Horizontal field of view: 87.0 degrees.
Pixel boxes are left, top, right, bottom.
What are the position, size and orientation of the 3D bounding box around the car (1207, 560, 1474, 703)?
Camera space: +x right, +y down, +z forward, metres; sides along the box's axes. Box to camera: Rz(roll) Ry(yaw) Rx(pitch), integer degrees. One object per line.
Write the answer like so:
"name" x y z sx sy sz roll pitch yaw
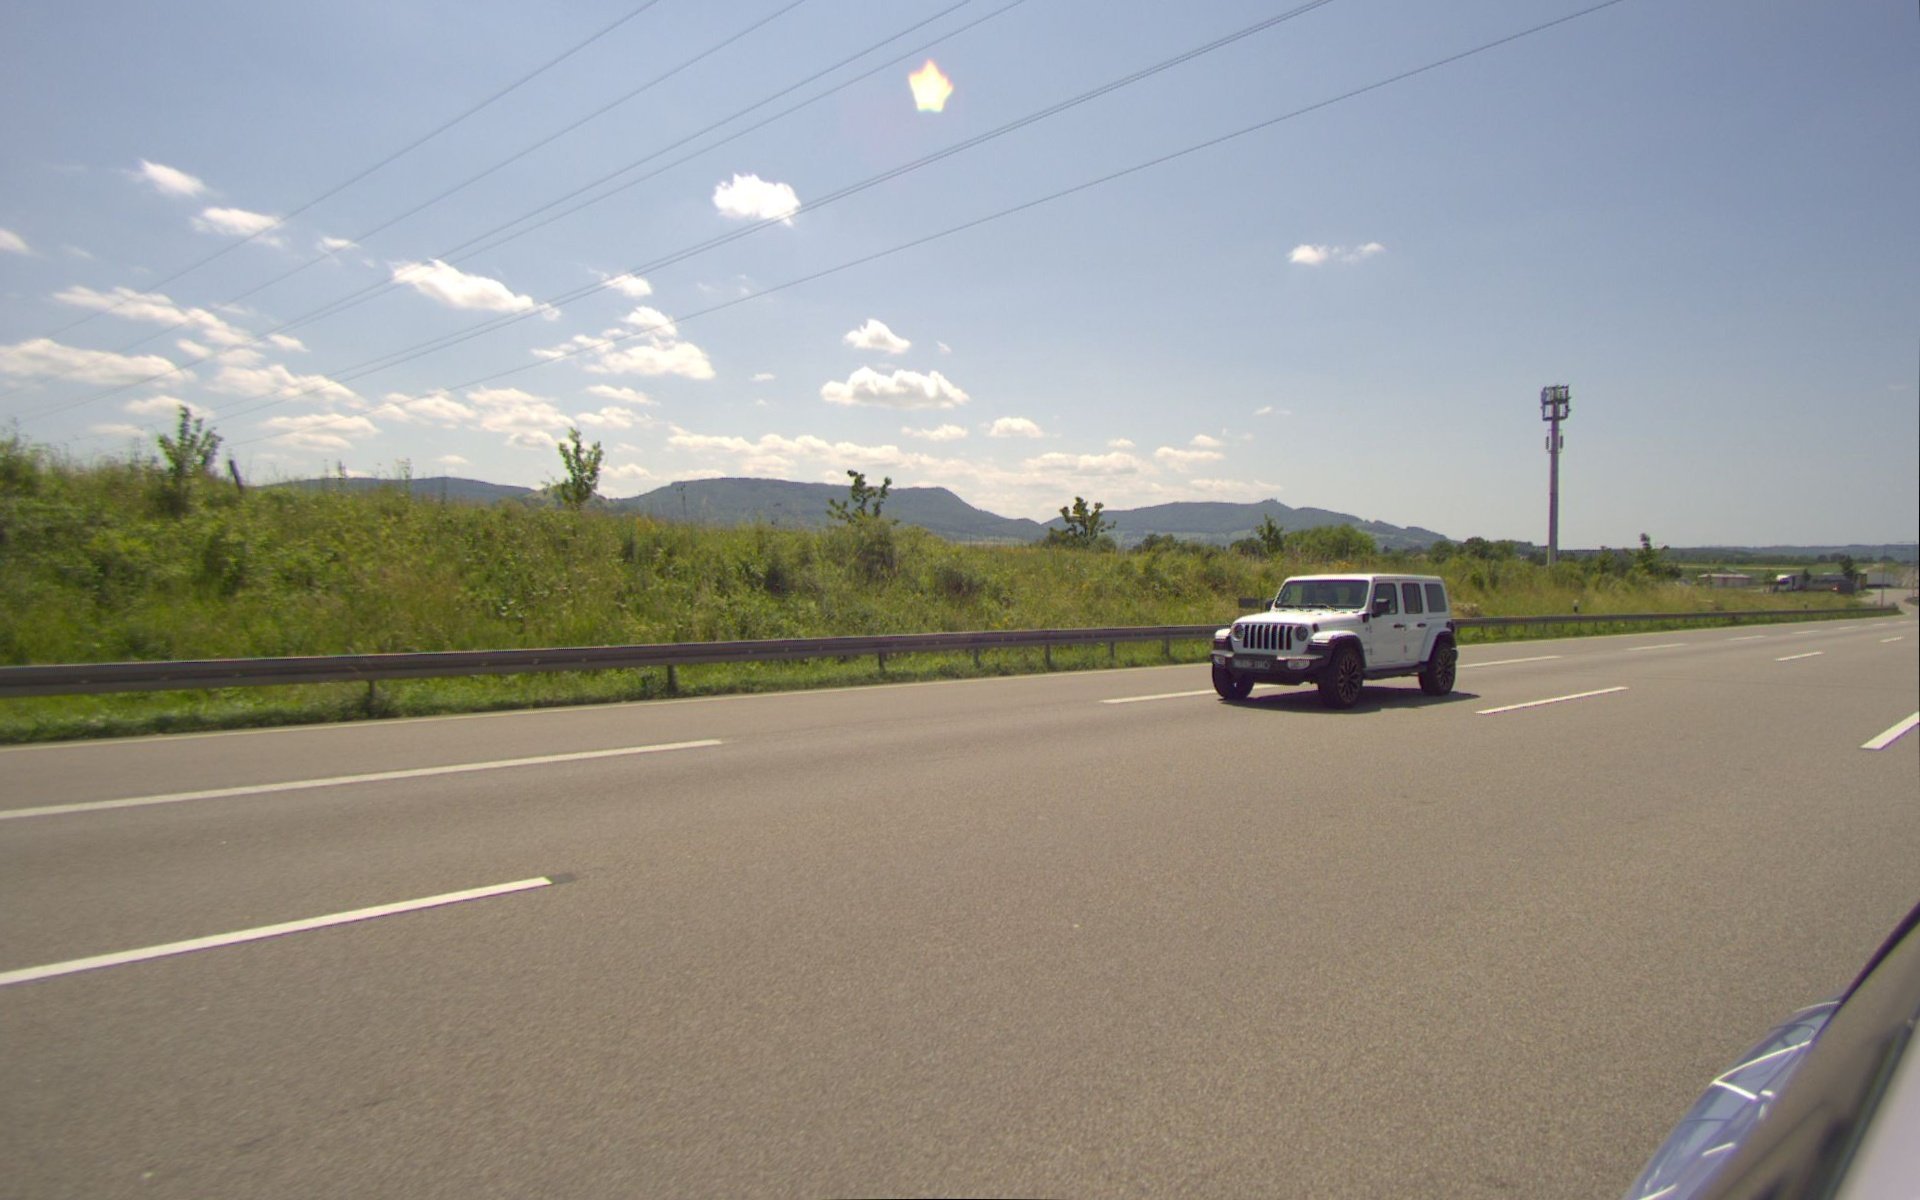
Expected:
"car" 5.757 0.384 15.101 4.177 1.827 2.038 0 0 -42
